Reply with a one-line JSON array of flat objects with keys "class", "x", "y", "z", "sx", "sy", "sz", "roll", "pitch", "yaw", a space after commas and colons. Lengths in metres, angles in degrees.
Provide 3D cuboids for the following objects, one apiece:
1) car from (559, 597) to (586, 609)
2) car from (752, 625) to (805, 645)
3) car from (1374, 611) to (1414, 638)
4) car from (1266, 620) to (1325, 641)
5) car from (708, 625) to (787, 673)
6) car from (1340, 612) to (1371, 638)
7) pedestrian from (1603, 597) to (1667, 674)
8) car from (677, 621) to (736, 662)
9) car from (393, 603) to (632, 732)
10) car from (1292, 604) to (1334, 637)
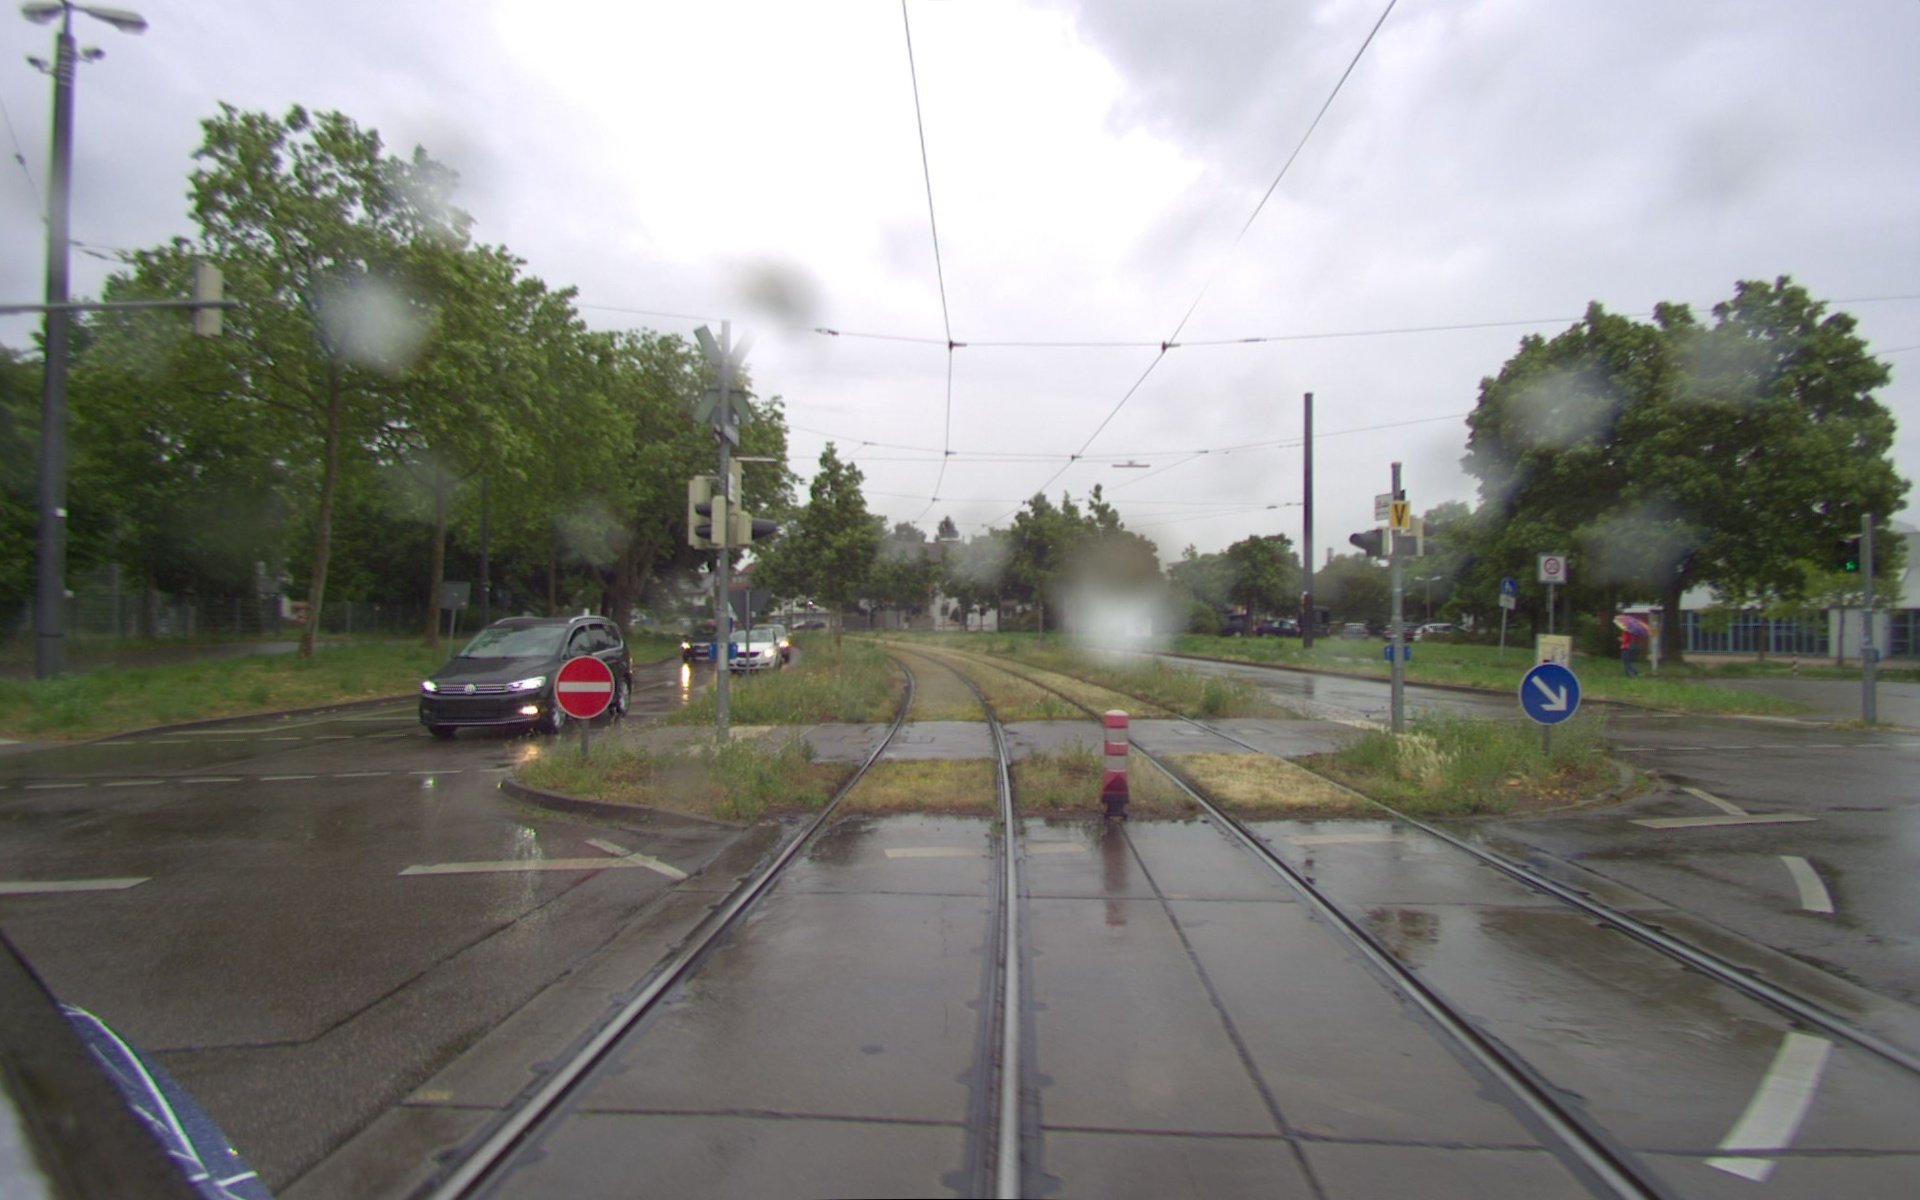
[{"class": "car", "x": -63.726, "y": 0.500, "z": 166.545, "sx": 3.931, "sy": 1.841, "sz": 2.006, "roll": -1, "pitch": -1, "yaw": -27}, {"class": "car", "x": -14.070, "y": 2.681, "z": 78.476, "sx": 3.978, "sy": 1.431, "sz": 1.679, "roll": -1, "pitch": -1, "yaw": -12}, {"class": "car", "x": 27.738, "y": 1.531, "z": 64.592, "sx": 2.051, "sy": 1.584, "sz": 4.971, "roll": -2, "pitch": -1, "yaw": 26}, {"class": "car", "x": 25.799, "y": 2.339, "z": 77.822, "sx": 4.158, "sy": 1.494, "sz": 1.768, "roll": -2, "pitch": -1, "yaw": 25}, {"class": "car", "x": -6.687, "y": 1.522, "z": 32.221, "sx": 1.763, "sy": 1.373, "sz": 3.999, "roll": -1, "pitch": -1, "yaw": -2}, {"class": "car", "x": 25.627, "y": 1.605, "z": 65.604, "sx": 1.744, "sy": 1.542, "sz": 4.814, "roll": -2, "pitch": -1, "yaw": 21}, {"class": "pedestrian", "x": 18.207, "y": 0.953, "z": 27.319, "sx": 0.939, "sy": 2.006, "sz": 1.009, "roll": -1, "pitch": -1, "yaw": -6}, {"class": "car", "x": -10.766, "y": 1.735, "z": 43.173, "sx": 1.845, "sy": 1.630, "sz": 3.813, "roll": -1, "pitch": -1, "yaw": -5}, {"class": "car", "x": -6.523, "y": 0.919, "z": 15.359, "sx": 1.840, "sy": 1.613, "sz": 4.528, "roll": -1, "pitch": -1, "yaw": -3}, {"class": "car", "x": 23.016, "y": 1.337, "z": 65.854, "sx": 2.297, "sy": 2.029, "sz": 5.080, "roll": -2, "pitch": -1, "yaw": 21}]
